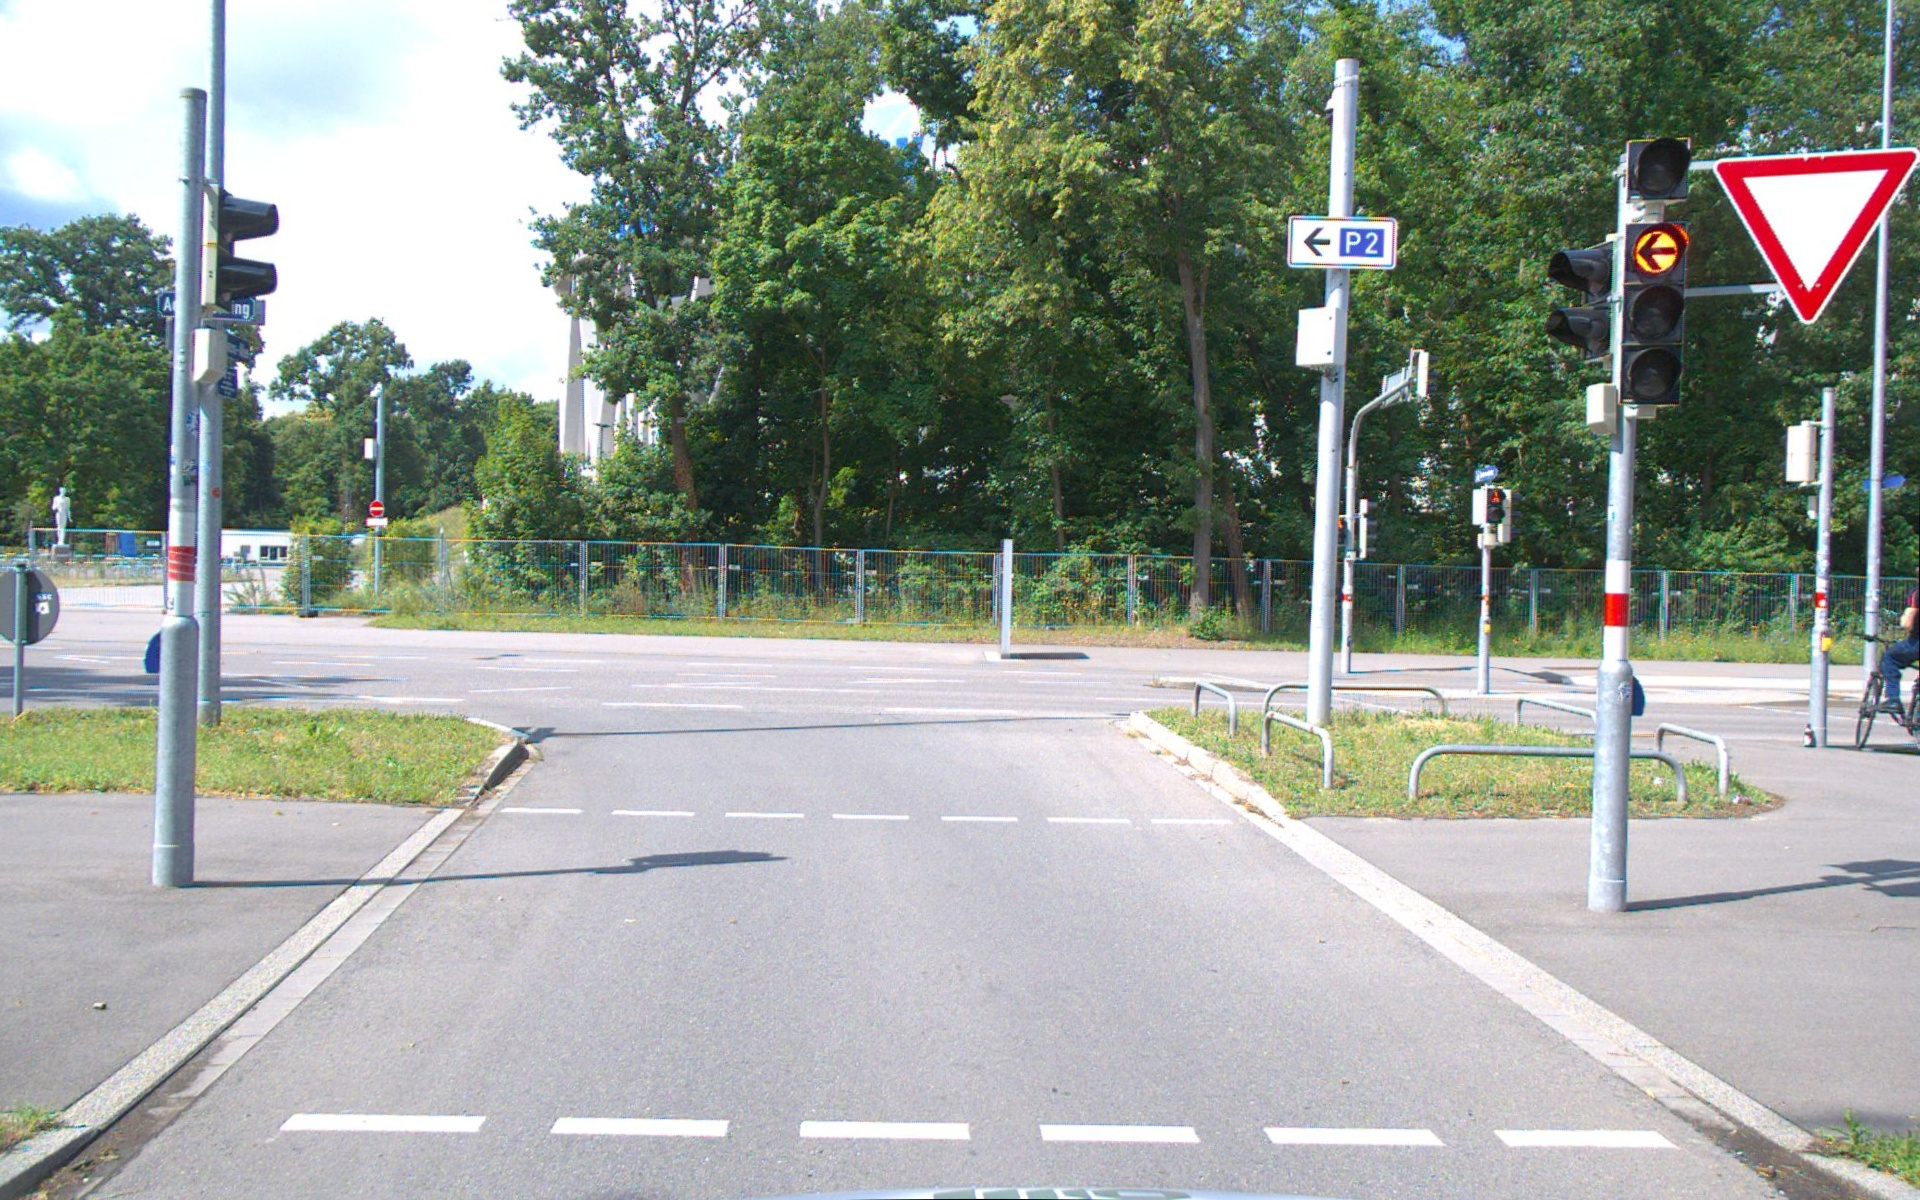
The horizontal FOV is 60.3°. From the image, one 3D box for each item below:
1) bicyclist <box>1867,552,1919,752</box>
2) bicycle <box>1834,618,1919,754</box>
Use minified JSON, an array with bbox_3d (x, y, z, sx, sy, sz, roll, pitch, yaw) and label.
[{"bbox_3d":[9.215,0.482,15.577,0.866,1.829,0.979,1,-1,7],"label":"bicyclist"},{"bbox_3d":[9.235,0.797,15.901,0.861,1.227,1.899,1,0,8],"label":"bicycle"}]
